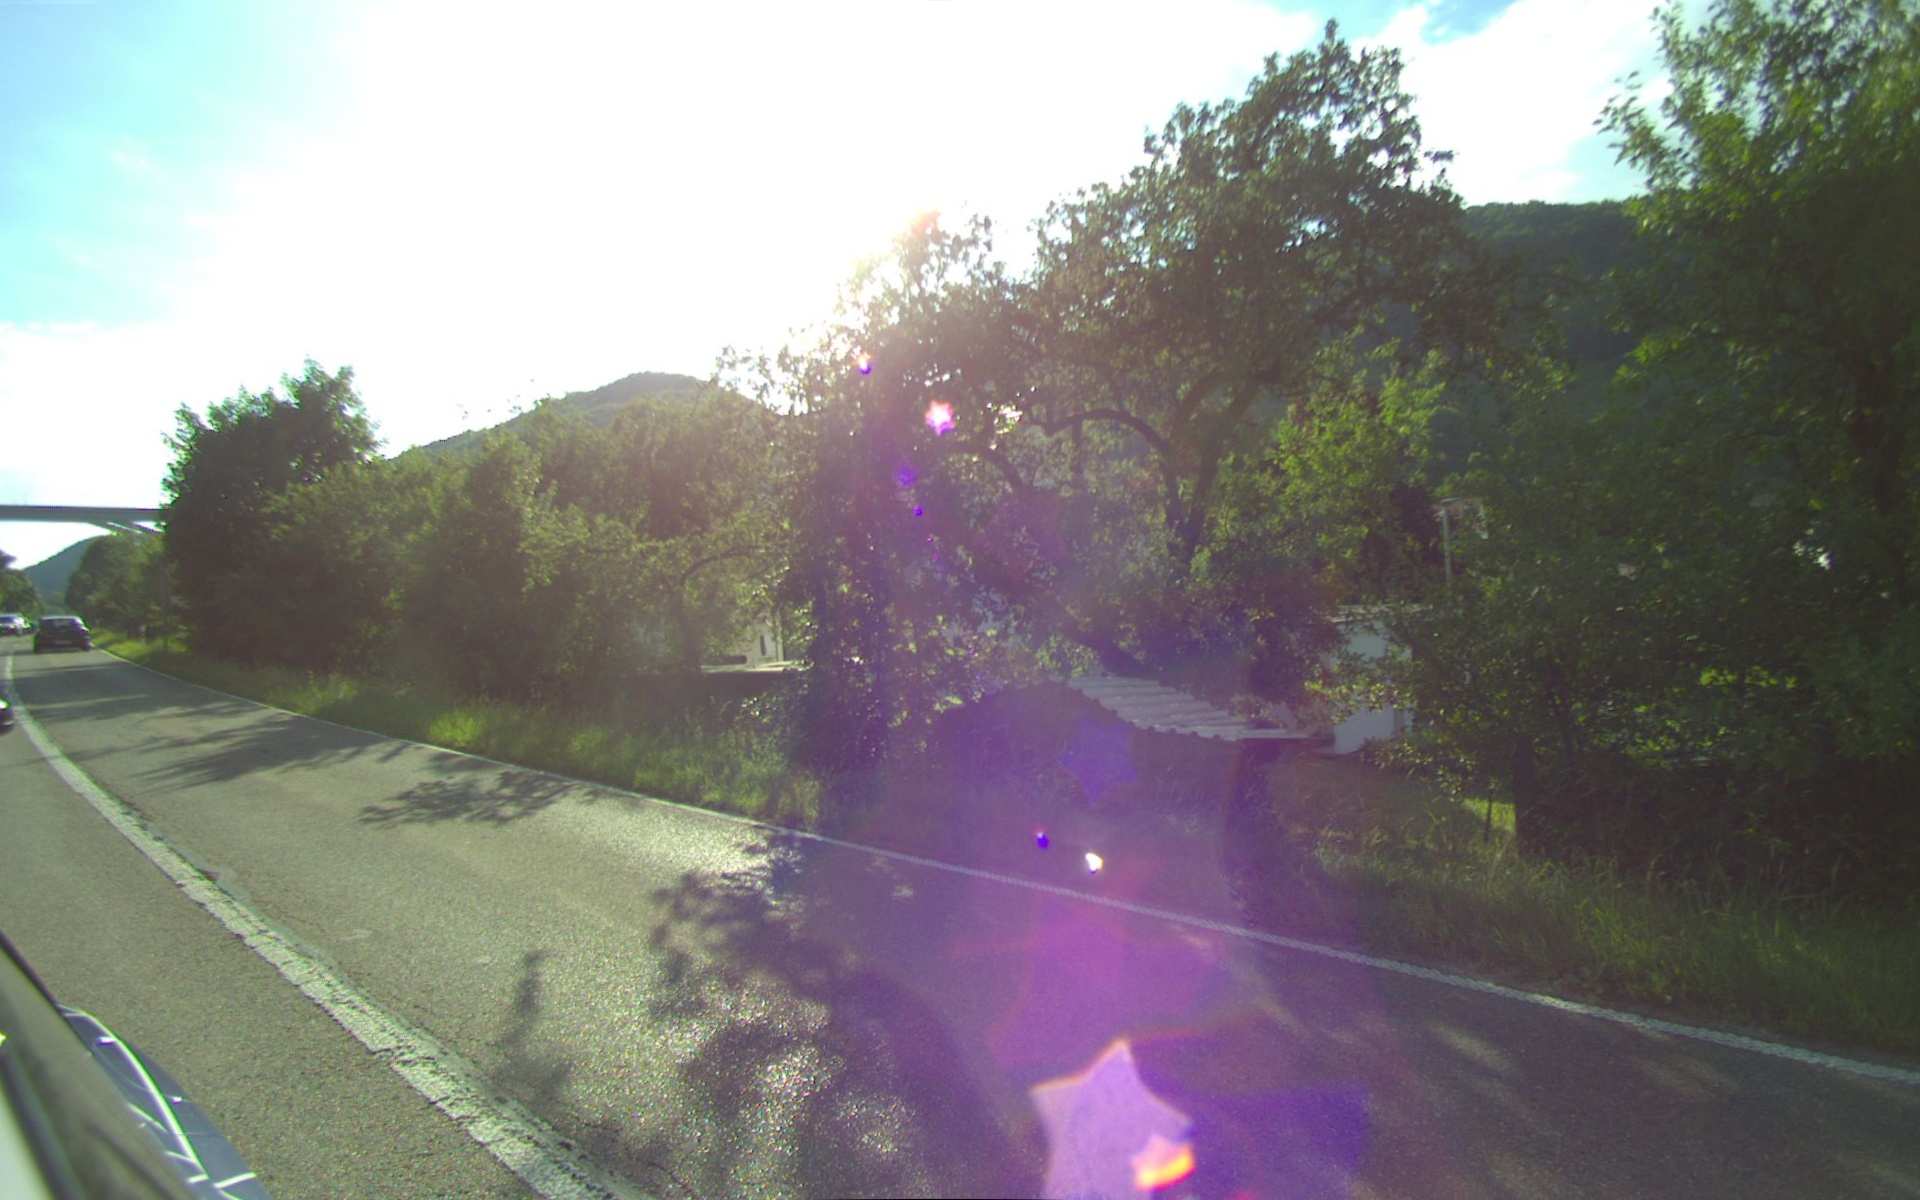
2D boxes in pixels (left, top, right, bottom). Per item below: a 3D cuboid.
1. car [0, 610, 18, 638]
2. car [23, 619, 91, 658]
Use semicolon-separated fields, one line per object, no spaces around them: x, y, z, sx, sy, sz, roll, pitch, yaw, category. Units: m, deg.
-72.804;1.800;76.773;1.970;2.029;4.004;-1;0;-43;car
-36.888;1.523;41.304;4.050;1.441;1.685;-1;0;43;car
